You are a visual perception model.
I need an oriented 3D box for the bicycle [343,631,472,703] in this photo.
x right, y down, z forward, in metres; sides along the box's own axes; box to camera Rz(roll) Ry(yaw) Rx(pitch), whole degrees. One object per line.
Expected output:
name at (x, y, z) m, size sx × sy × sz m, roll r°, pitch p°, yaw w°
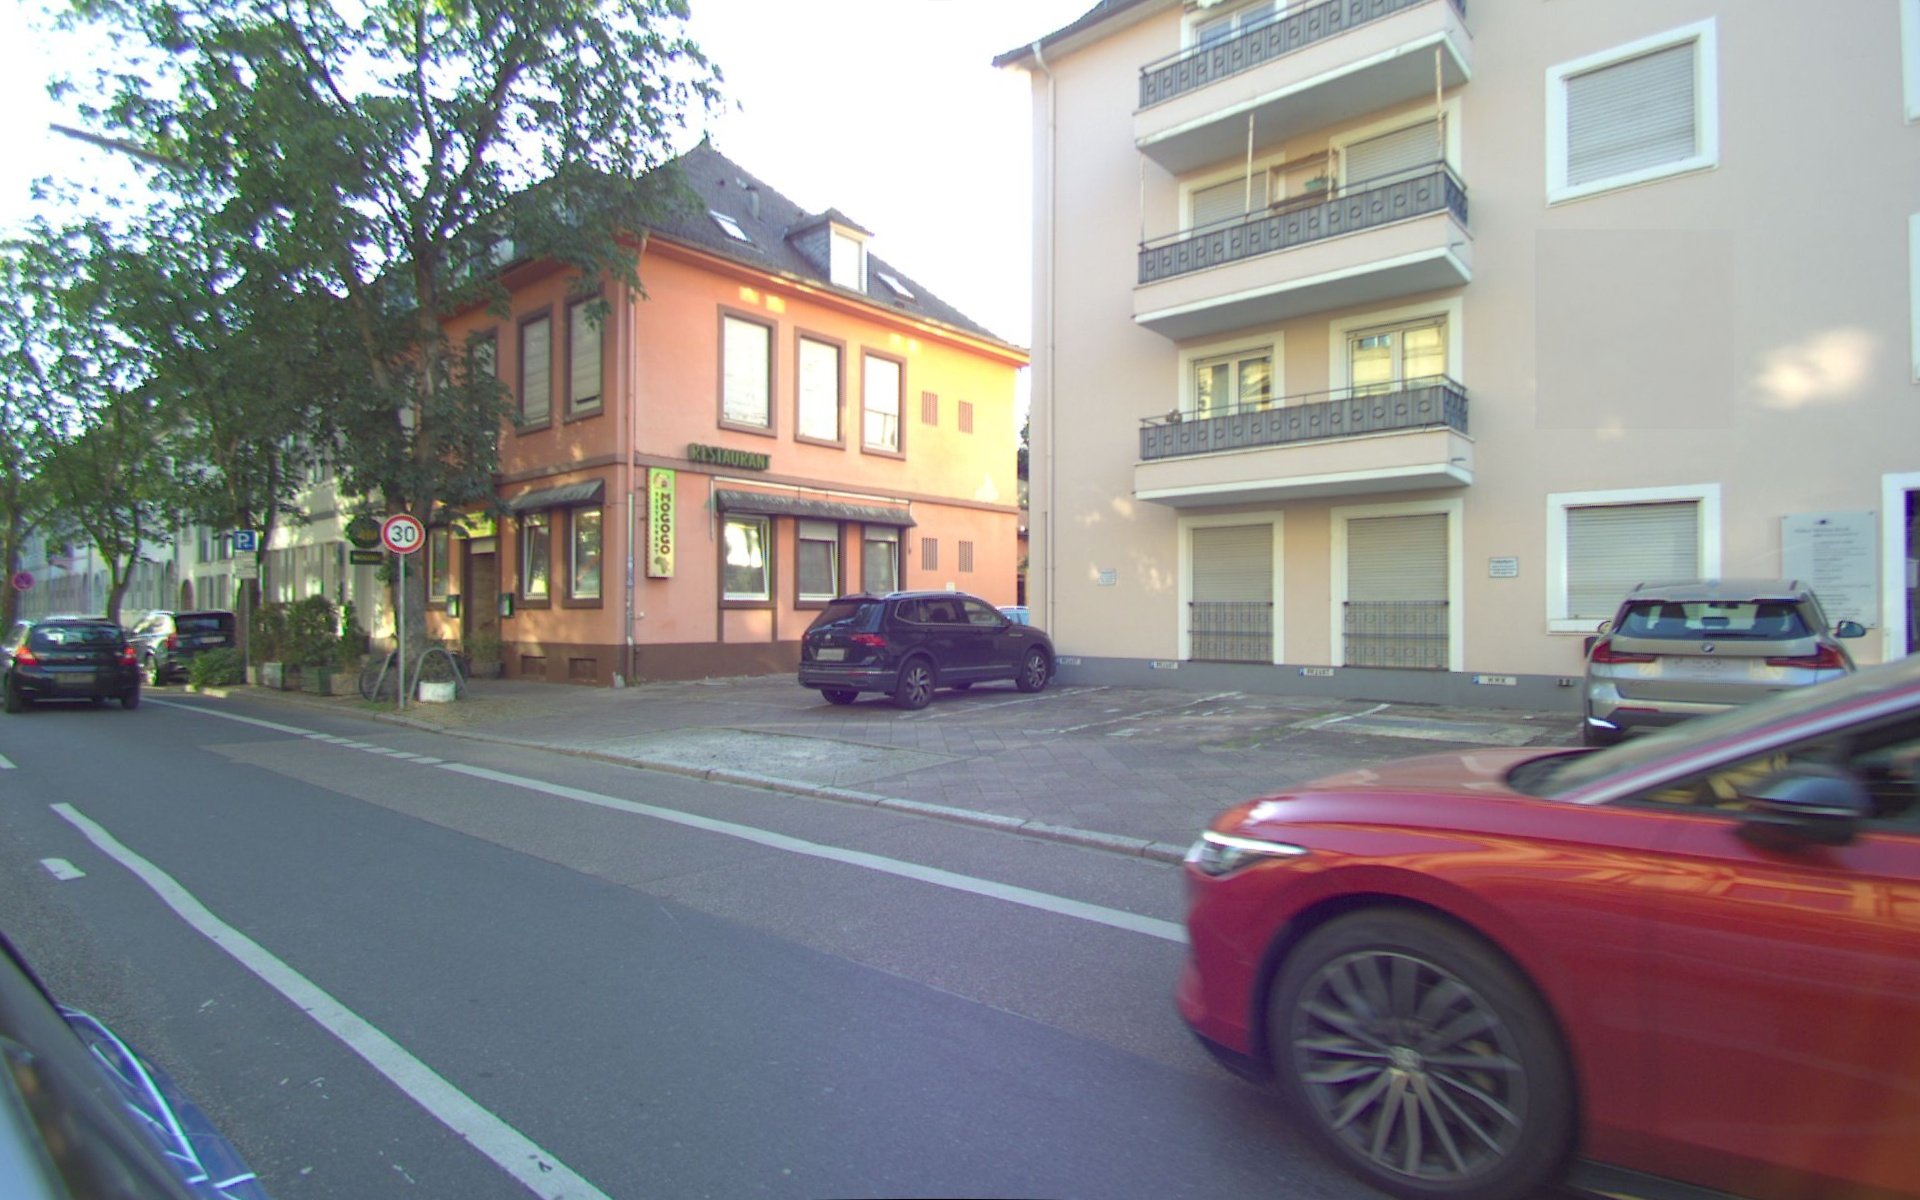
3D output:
bicycle at (-9.329, 1.097, 17.151) m, size 0.609 × 1.112 × 1.850 m, roll -1°, pitch -1°, yaw 34°

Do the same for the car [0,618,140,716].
car at (-15.498, 1.101, 17.298) m, size 3.851 × 1.483 × 1.640 m, roll -2°, pitch -3°, yaw 41°

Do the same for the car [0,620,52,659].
car at (-42.698, 1.720, 44.295) m, size 1.798 × 1.703 × 4.178 m, roll -1°, pitch -2°, yaw 38°

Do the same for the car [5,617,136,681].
car at (-26.546, 1.404, 30.159) m, size 4.645 × 1.680 × 1.813 m, roll -1°, pitch 2°, yaw 35°

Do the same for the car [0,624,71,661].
car at (-40.435, 1.788, 42.734) m, size 1.801 × 1.557 × 4.172 m, roll -1°, pitch -2°, yaw 43°

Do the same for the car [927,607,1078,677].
car at (1.109, 0.986, 24.928) m, size 1.884 × 1.567 × 3.762 m, roll -1°, pitch -1°, yaw 39°

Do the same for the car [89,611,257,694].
car at (-19.609, 1.229, 25.141) m, size 5.037 × 1.772 × 1.813 m, roll -1°, pitch 2°, yaw 35°

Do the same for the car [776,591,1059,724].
car at (-0.503, 0.745, 15.466) m, size 1.862 × 1.678 × 4.374 m, roll -2°, pitch 0°, yaw 39°

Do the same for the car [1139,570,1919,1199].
car at (2.944, 0.730, 2.043) m, size 4.843 × 1.557 × 1.812 m, roll -2°, pitch -3°, yaw 40°

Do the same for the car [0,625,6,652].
car at (-56.227, 2.150, 56.432) m, size 1.798 × 1.519 × 4.178 m, roll -1°, pitch -2°, yaw 38°

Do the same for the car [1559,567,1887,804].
car at (6.963, 0.561, 9.226) m, size 1.914 × 1.617 × 4.374 m, roll -2°, pitch 0°, yaw 39°
